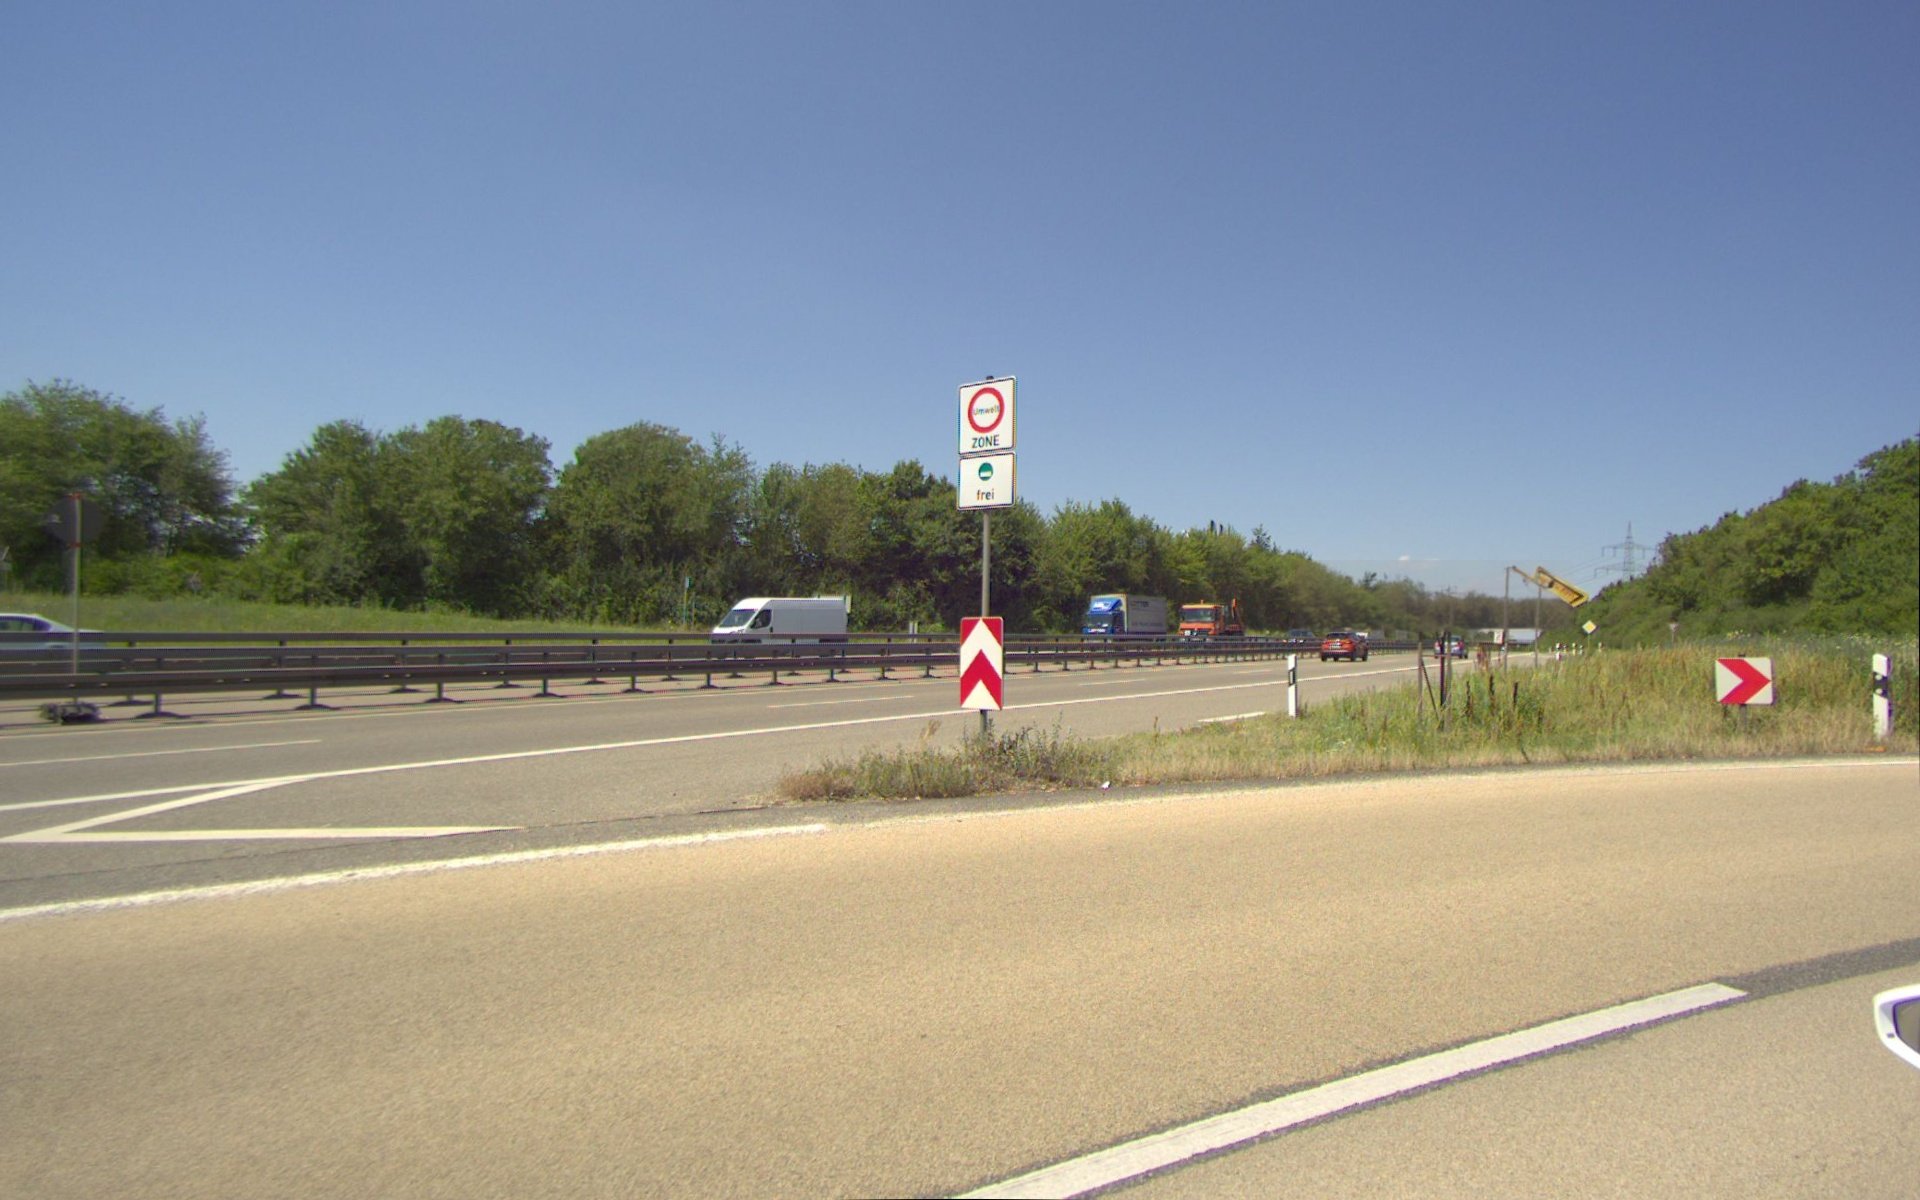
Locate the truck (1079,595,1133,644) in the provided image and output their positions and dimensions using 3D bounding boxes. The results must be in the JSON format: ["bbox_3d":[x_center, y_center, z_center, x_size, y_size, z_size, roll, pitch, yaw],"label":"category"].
[{"bbox_3d":[9.316,1.263,64.129,2.278,3.049,3.066,0,-1,36],"label":"truck"}]

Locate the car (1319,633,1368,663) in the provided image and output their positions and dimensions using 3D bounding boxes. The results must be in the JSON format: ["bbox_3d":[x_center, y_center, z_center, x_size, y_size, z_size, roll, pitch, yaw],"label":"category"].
[{"bbox_3d":[20.658,2.554,54.051,1.720,1.574,3.369,-1,-2,34],"label":"car"}]

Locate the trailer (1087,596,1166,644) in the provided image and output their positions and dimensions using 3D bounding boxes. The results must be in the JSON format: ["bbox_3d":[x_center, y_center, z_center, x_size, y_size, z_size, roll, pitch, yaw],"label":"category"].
[{"bbox_3d":[11.151,1.325,66.709,2.268,3.049,7.196,0,-1,36],"label":"trailer"}]

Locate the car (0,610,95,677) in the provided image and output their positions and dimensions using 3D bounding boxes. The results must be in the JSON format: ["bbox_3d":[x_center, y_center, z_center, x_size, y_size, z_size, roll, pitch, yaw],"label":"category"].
[{"bbox_3d":[-23.035,0.983,23.086,1.676,1.504,4.519,1,-1,37],"label":"car"}]

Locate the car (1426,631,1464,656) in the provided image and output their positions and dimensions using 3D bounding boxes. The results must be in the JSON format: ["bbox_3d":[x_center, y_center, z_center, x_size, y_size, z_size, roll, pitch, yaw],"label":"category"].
[{"bbox_3d":[31.404,2.803,65.026,1.720,1.598,3.369,-1,-2,34],"label":"car"}]

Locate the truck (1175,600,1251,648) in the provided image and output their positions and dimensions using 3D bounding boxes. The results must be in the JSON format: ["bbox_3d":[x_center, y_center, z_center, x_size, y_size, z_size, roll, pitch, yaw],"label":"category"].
[{"bbox_3d":[17.497,1.671,68.925,2.559,3.102,8.184,0,-2,33],"label":"truck"}]

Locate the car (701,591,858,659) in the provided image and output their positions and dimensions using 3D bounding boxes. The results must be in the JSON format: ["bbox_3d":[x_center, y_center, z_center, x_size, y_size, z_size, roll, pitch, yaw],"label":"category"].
[{"bbox_3d":[-7.346,1.009,41.632,2.130,2.571,6.670,1,-1,38],"label":"car"}]
